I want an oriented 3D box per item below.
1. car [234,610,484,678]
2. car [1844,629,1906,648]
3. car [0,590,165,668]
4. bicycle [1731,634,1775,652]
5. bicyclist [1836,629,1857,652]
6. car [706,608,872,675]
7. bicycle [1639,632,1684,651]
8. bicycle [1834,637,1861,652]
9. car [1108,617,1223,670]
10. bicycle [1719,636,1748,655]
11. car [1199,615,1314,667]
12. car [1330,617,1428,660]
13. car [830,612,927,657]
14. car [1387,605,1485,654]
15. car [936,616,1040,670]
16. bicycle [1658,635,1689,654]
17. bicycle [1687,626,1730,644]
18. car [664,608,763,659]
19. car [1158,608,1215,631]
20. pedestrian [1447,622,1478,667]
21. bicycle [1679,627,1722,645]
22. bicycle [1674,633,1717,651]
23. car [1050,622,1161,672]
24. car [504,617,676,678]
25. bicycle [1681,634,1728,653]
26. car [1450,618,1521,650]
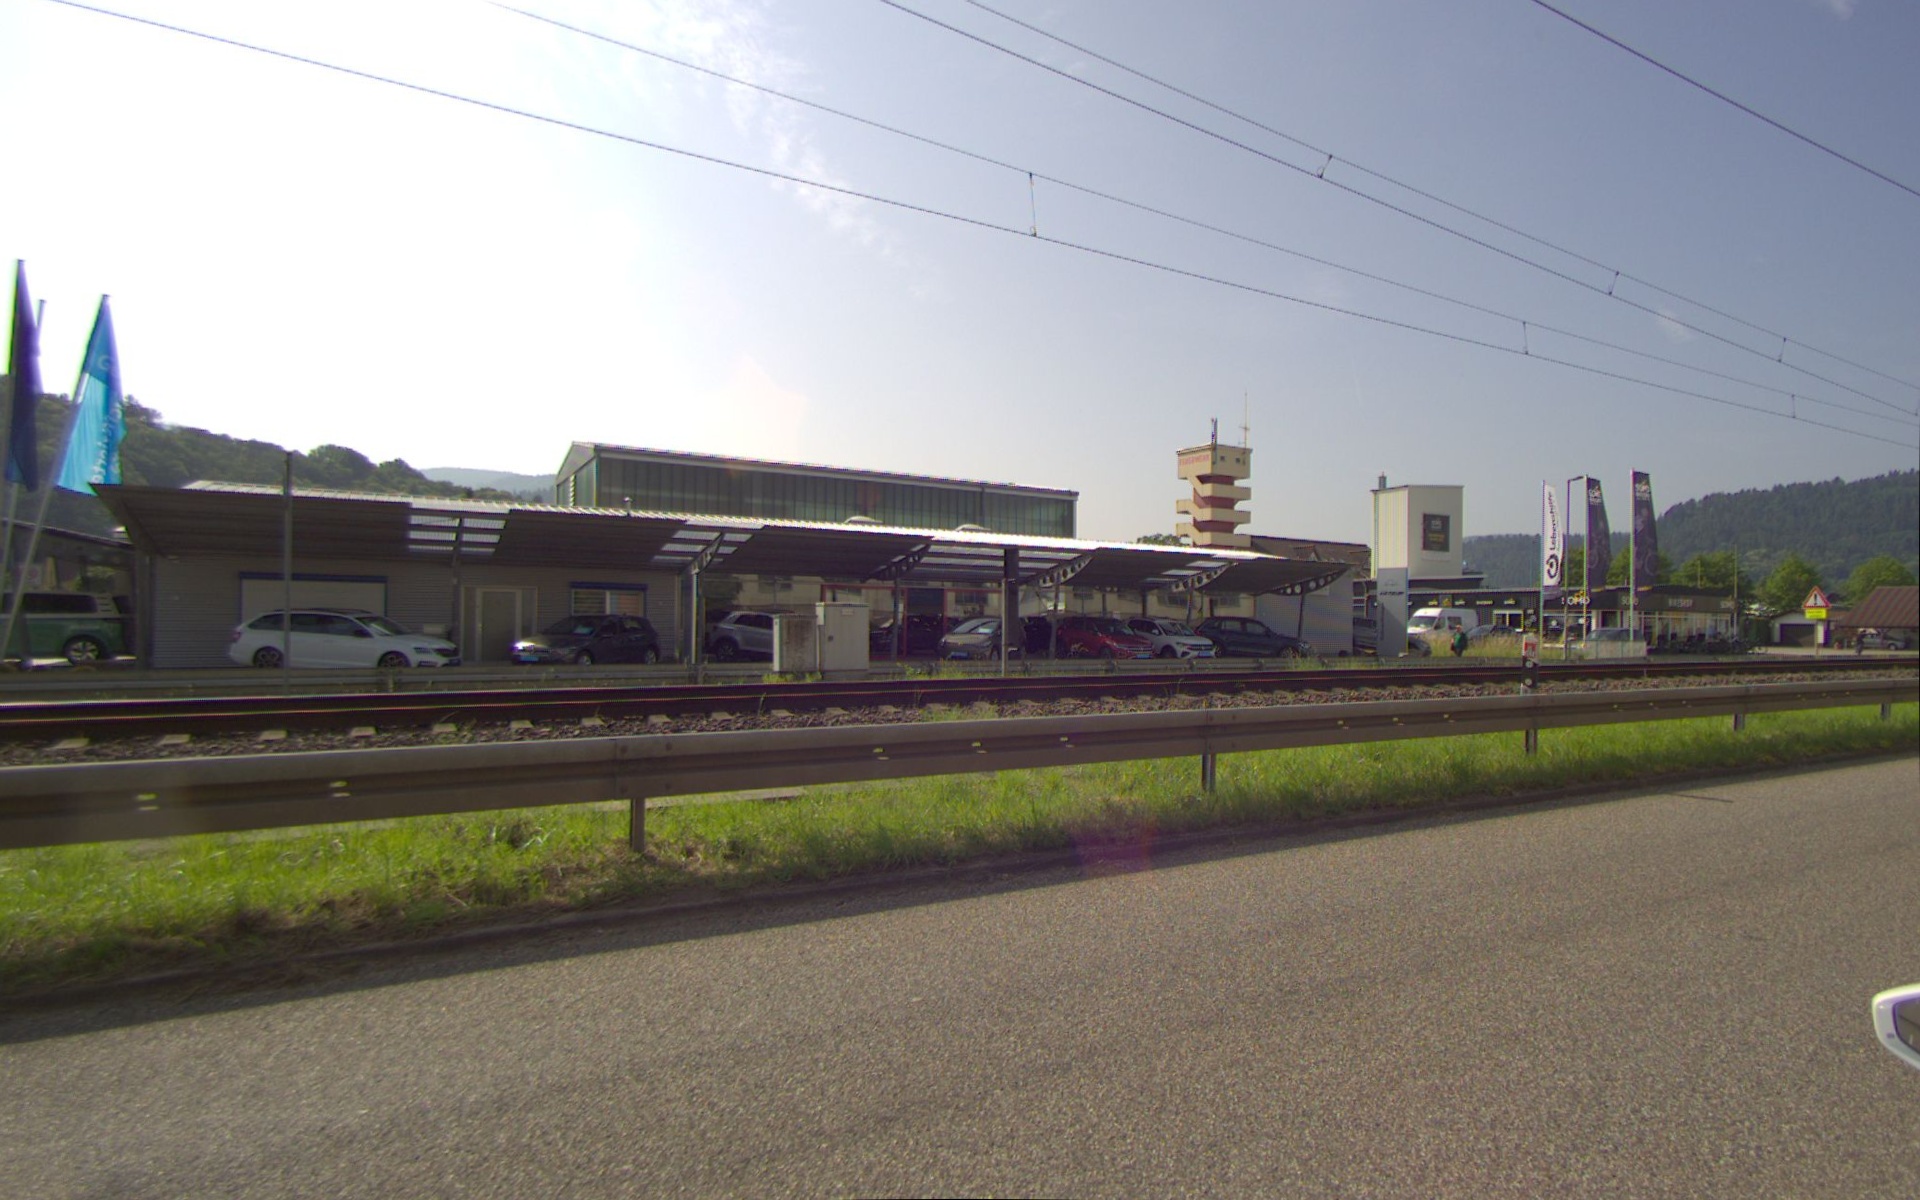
[{"bbox_3d":[-13.280,0.963,22.404,4.434,1.404,1.847,1,-1,0],"label":"car"},{"bbox_3d":[82.923,3.438,91.052,1.689,1.673,3.825,1,-2,-25],"label":"car"},{"bbox_3d":[-23.289,0.731,25.584,4.501,1.882,1.889,1,-1,-31],"label":"car"},{"bbox_3d":[51.334,2.792,65.052,0.724,1.145,2.151,2,-2,-37],"label":"bicycle"},{"bbox_3d":[63.995,2.889,72.481,1.130,1.641,0.743,1,-1,-25],"label":"bicyclist"},{"bbox_3d":[-4.777,1.111,28.141,4.187,1.548,1.847,3,2,20],"label":"car"},{"bbox_3d":[43.005,2.547,61.584,0.721,1.145,2.158,2,-2,-28],"label":"bicycle"},{"bbox_3d":[64.035,3.203,72.479,1.936,1.030,0.753,1,-1,-25],"label":"bicycle"},{"bbox_3d":[7.072,1.469,34.930,1.644,1.548,3.936,1,2,-31],"label":"car"},{"bbox_3d":[48.510,2.858,62.990,2.149,1.145,0.724,2,-2,-30],"label":"bicycle"},{"bbox_3d":[10.980,1.505,37.485,3.950,1.644,1.664,3,2,13],"label":"car"},{"bbox_3d":[19.110,1.713,45.831,3.926,1.550,1.522,5,1,26],"label":"car"},{"bbox_3d":[-3.014,1.207,36.246,1.886,1.525,4.143,1,-1,-30],"label":"car"},{"bbox_3d":[28.597,1.796,60.311,6.091,2.667,2.361,3,-2,-31],"label":"car"},{"bbox_3d":[0.961,1.302,31.478,1.811,1.525,4.433,0,-1,22],"label":"car"},{"bbox_3d":[44.904,2.796,63.202,2.146,1.145,0.725,2,-1,-27],"label":"bicycle"},{"bbox_3d":[48.941,2.311,65.689,0.724,1.145,2.151,2,-2,-37],"label":"bicycle"},{"bbox_3d":[-7.980,1.036,32.278,1.888,1.525,4.141,1,-1,-32],"label":"car"},{"bbox_3d":[13.365,1.160,59.244,3.454,1.315,1.442,1,-1,-37],"label":"car"},{"bbox_3d":[19.867,1.754,39.708,0.826,1.757,0.798,1,-1,-31],"label":"pedestrian"},{"bbox_3d":[48.055,2.329,65.198,0.724,1.145,2.151,2,-2,-37],"label":"bicycle"},{"bbox_3d":[47.310,2.704,64.602,0.721,1.145,2.158,2,-2,-28],"label":"bicycle"},{"bbox_3d":[4.777,1.510,33.490,1.485,1.343,3.936,1,2,-31],"label":"car"},{"bbox_3d":[-9.170,1.140,25.280,1.811,1.360,4.209,0,-1,19],"label":"car"},{"bbox_3d":[45.756,2.681,61.762,2.275,1.145,0.731,1,-1,6],"label":"bicycle"},{"bbox_3d":[30.170,1.945,57.650,3.955,1.685,1.858,3,-2,-32],"label":"car"}]
